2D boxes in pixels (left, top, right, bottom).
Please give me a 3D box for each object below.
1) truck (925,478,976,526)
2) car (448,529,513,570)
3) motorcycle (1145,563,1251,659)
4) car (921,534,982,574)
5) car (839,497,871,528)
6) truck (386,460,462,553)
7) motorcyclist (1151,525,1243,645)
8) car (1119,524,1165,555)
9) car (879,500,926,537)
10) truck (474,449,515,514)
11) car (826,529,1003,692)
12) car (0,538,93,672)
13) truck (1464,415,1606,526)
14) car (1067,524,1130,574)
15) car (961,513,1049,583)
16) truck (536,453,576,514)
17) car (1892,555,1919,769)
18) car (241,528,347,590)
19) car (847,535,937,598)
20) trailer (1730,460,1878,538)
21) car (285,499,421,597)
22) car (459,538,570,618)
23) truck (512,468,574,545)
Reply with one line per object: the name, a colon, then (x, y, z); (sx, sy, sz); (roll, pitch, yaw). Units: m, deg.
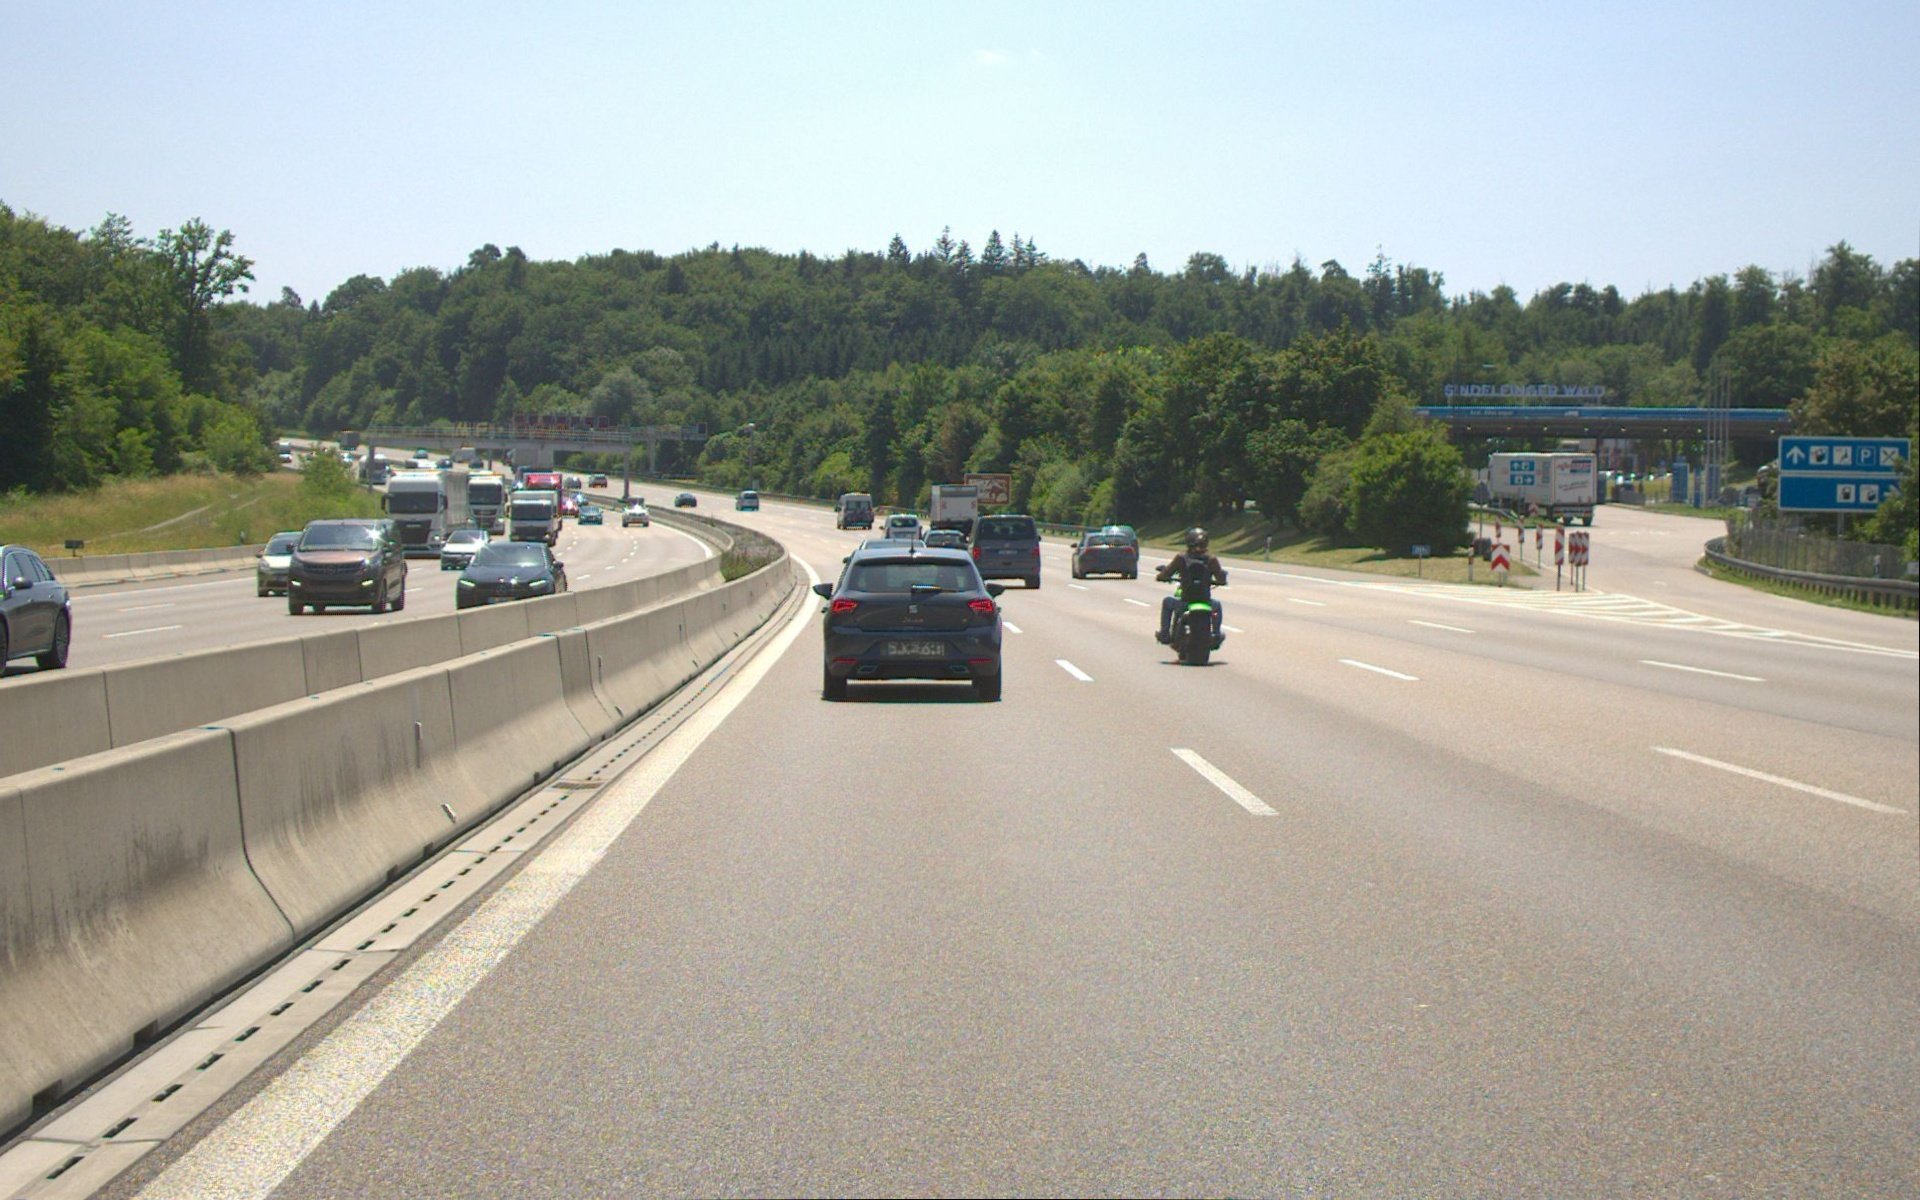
truck: (-0.617, -6.142, 214.126); (2.726, 2.776, 5.684); (3, 2, -4)
car: (-17.957, -1.906, 128.857); (1.872, 1.475, 4.814); (1, 1, -1)
motorcycle: (2.889, 0.118, 41.976); (0.977, 1.125, 2.271); (1, 1, -4)
car: (-0.322, -1.645, 121.902); (1.842, 1.218, 4.225); (3, 2, -4)
car: (-7.408, -6.168, 242.040); (1.993, 2.006, 4.675); (3, 2, -4)
truck: (-24.450, -4.269, 157.094); (2.682, 4.163, 6.232); (0, 1, -2)
motorcyclist: (2.877, -0.193, 41.883); (0.962, 1.432, 1.235); (0, 2, -4)
car: (7.354, -2.442, 138.866); (1.608, 1.208, 3.460); (0, 1, -1)
car: (-2.835, -3.997, 168.237); (1.993, 1.678, 4.425); (3, 2, -4)
truck: (-31.517, -8.062, 232.922); (2.500, 4.336, 6.607); (0, 3, -6)
car: (-0.396, 0.059, 33.598); (1.624, 1.482, 3.685); (1, 1, 1)
car: (-11.538, 0.030, 39.642); (1.872, 1.471, 5.112); (0, 1, -1)
truck: (33.763, -7.528, 202.909); (5.508, 6.244, 15.432); (0, 1, -1)
car: (4.217, -1.569, 105.000); (1.675, 1.427, 3.685); (2, 1, 0)
car: (1.200, -1.421, 93.584); (2.097, 1.845, 4.082); (0, 1, -3)
truck: (-29.247, -8.469, 249.028); (2.500, 4.336, 6.607); (0, 2, -4)
car: (7.273, 0.424, 21.483); (1.666, 1.428, 4.376); (-2, 1, 0)
car: (-17.118, -1.074, 88.564); (1.872, 1.529, 4.814); (-1, 1, -1)
car: (-1.417, -0.698, 70.709); (1.782, 1.261, 3.460); (0, 1, -2)
trailer: (42.950, -5.183, 174.449); (3.164, 3.624, 13.597); (1, 3, 32)
car: (-12.356, -1.069, 70.328); (1.872, 1.933, 5.775); (0, 1, -1)
car: (-8.420, -0.448, 65.270); (1.601, 1.463, 4.506); (0, 1, -1)
truck: (-23.155, -5.197, 191.184); (2.531, 4.163, 9.620); (0, 1, -2)
